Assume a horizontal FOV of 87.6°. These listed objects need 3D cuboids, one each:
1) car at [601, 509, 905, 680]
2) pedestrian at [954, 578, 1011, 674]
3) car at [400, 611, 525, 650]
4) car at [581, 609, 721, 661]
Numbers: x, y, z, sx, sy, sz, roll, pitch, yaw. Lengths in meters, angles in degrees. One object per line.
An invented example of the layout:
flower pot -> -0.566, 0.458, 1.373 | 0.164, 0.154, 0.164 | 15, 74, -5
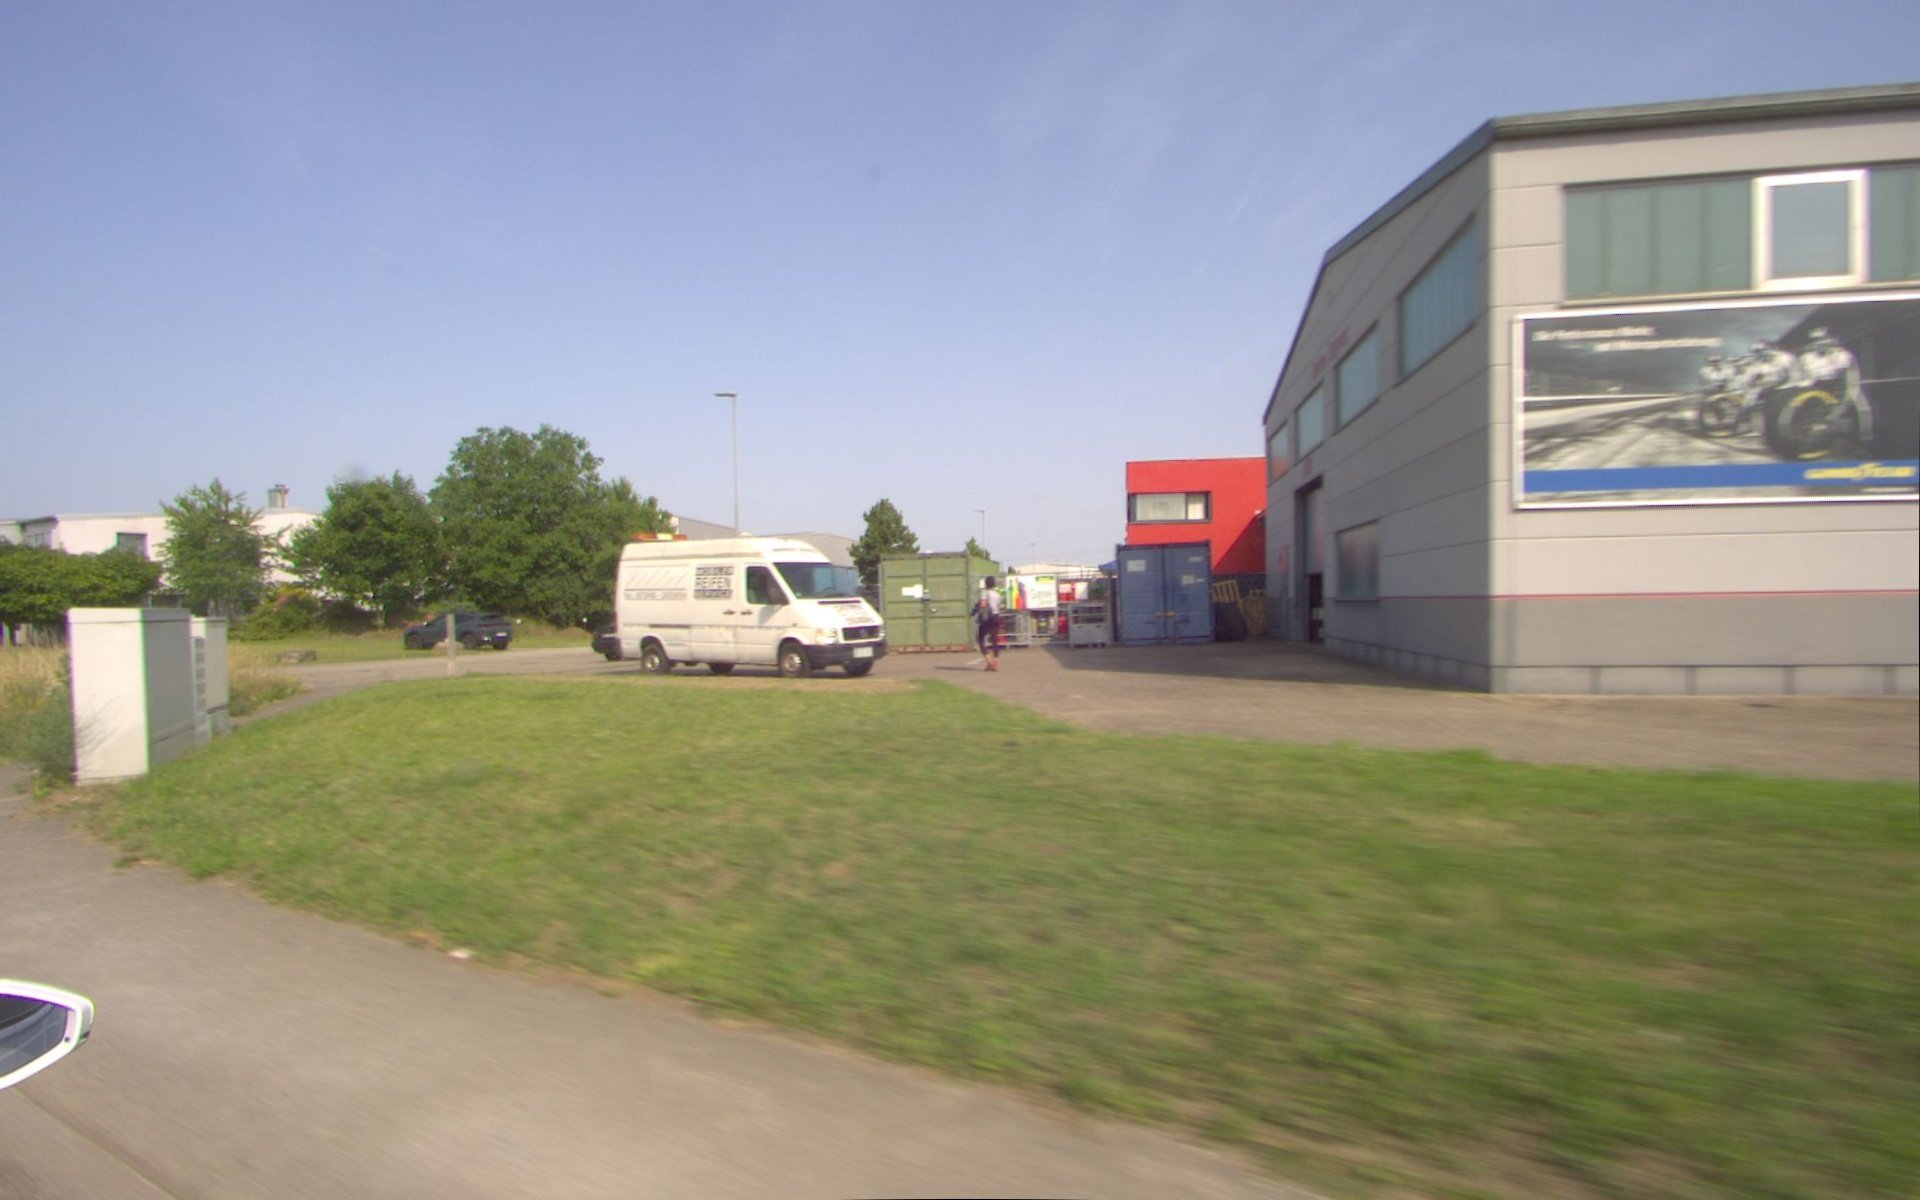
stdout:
car -> -3.934, -0.043, 18.463 | 5.799, 2.741, 1.969 | -1, 0, 34
pedestrian -> 0.399, 0.458, 17.808 | 0.696, 1.661, 0.743 | -1, 1, -37
car -> -19.559, 1.196, 39.405 | 4.267, 1.428, 1.785 | -1, 0, 14
car -> -9.511, 1.048, 31.185 | 1.780, 1.427, 4.462 | -2, 0, 21
